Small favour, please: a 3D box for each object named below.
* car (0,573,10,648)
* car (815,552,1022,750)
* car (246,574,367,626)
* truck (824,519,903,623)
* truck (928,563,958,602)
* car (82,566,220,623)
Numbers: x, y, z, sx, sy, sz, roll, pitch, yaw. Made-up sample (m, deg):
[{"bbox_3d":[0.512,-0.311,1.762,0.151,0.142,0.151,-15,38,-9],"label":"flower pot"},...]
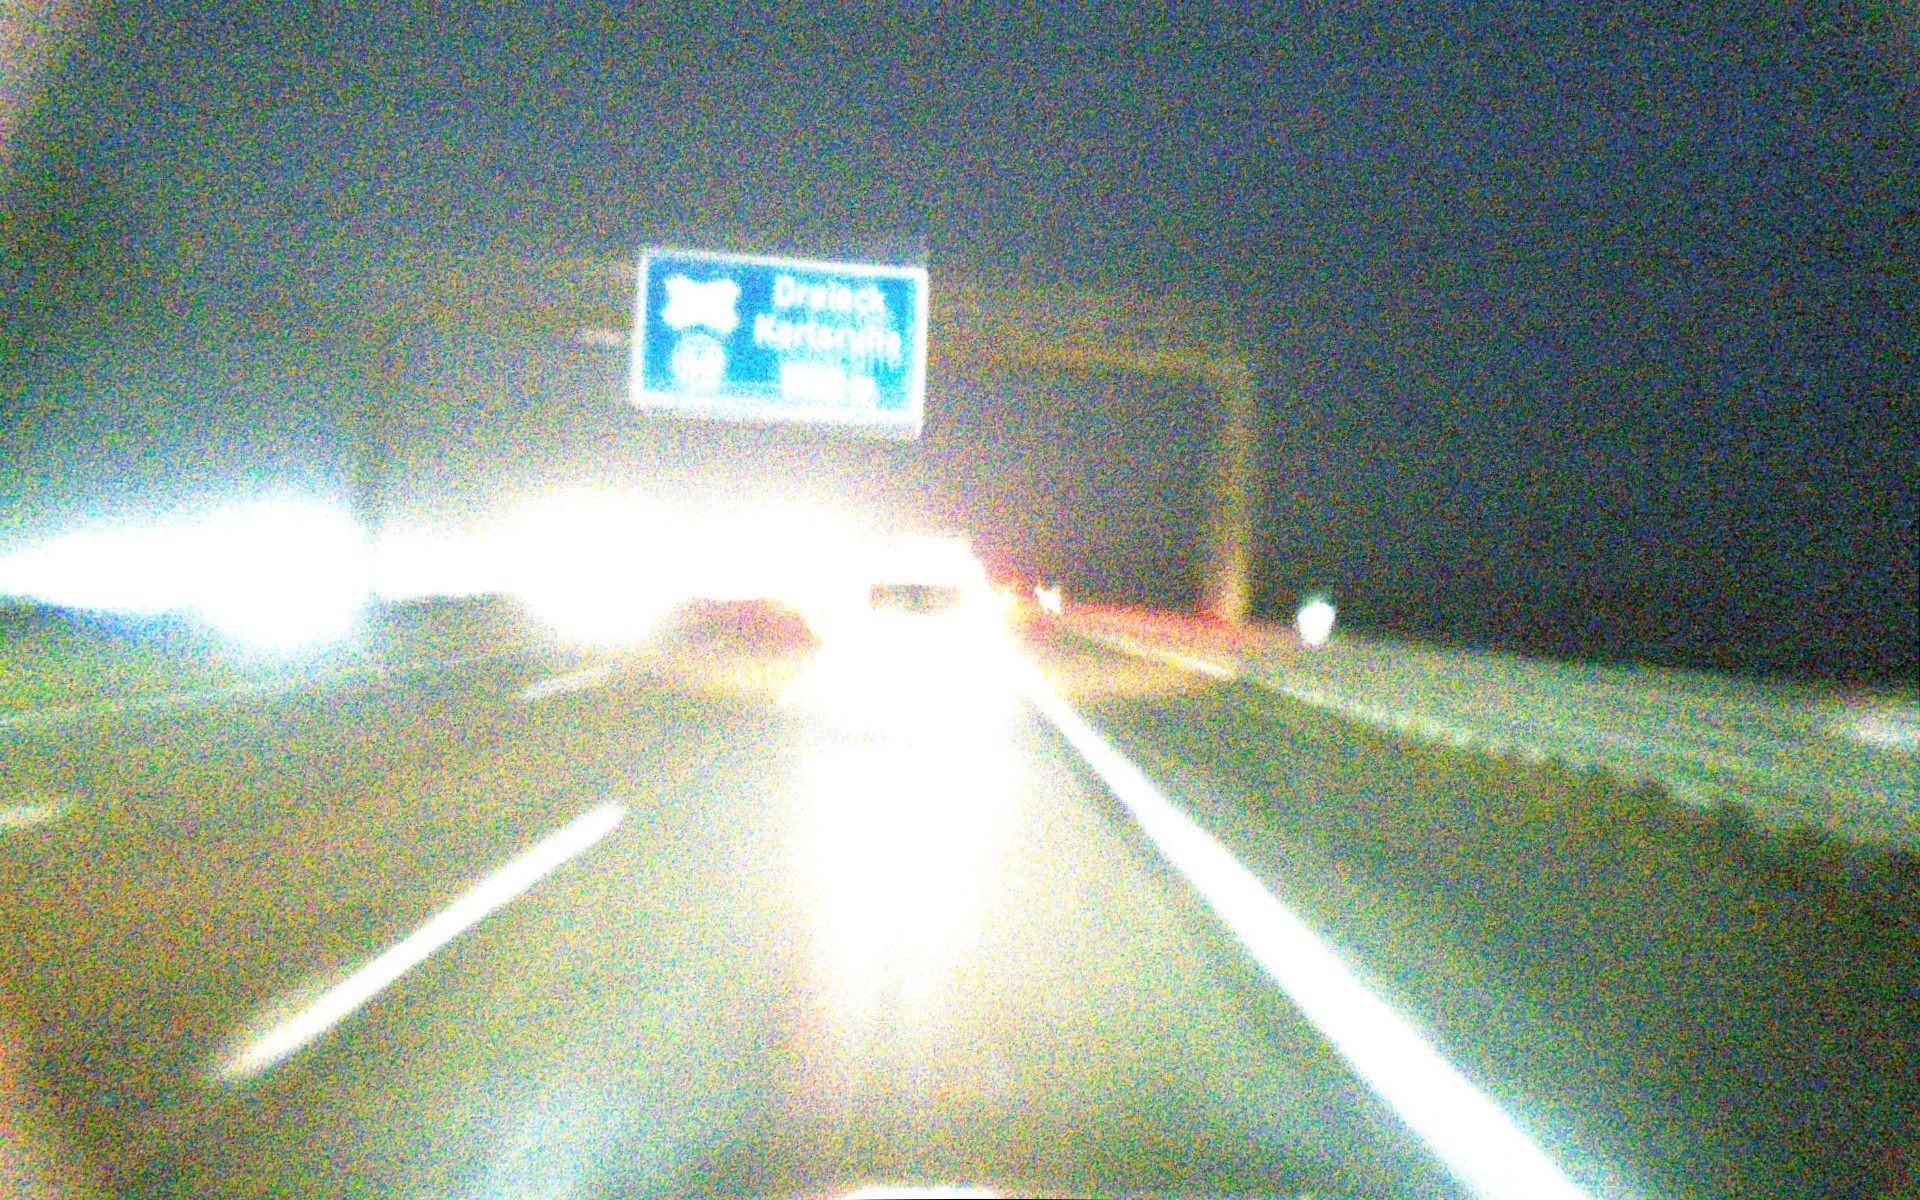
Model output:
[{"bbox_3d":[-19.824,0.168,30.163,1.932,1.489,5.368,3,0,-1],"label":"car"},{"bbox_3d":[-0.453,0.477,18.247,1.913,1.823,5.122,2,0,-1],"label":"car"},{"bbox_3d":[-20.900,-0.001,53.133,1.932,1.489,4.897,3,0,-1],"label":"car"},{"bbox_3d":[-5.581,-1.623,98.525,4.083,5.641,13.071,2,0,-1],"label":"truck"},{"bbox_3d":[-2.295,-2.282,218.600,3.746,5.001,11.603,2,0,-1],"label":"truck"},{"bbox_3d":[-23.684,-0.157,48.598,1.841,1.489,4.299,3,0,0],"label":"car"}]
